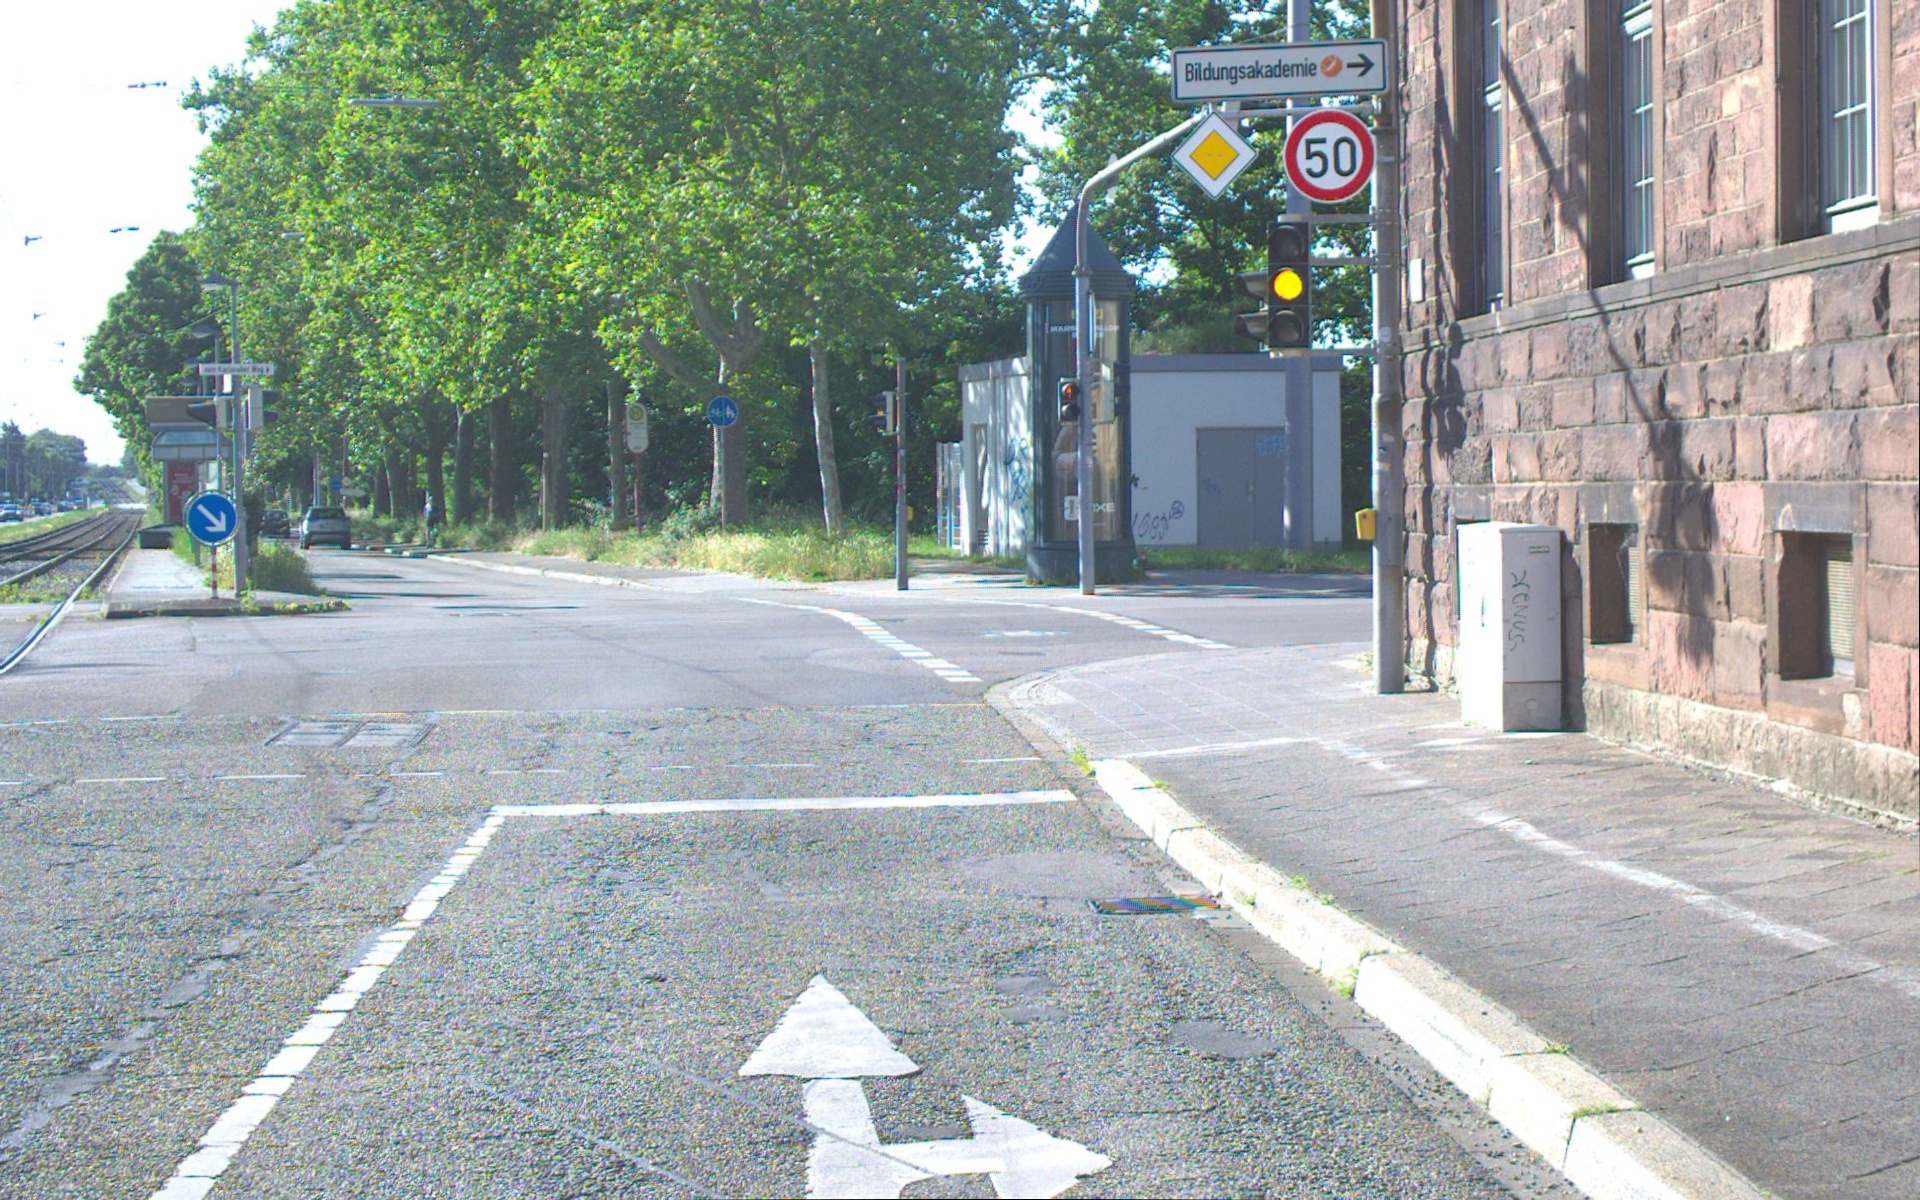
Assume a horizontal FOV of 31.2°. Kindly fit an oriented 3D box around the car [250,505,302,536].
[{"bbox_3d":[-37.423,-4.355,188.035,1.942,1.605,4.001,-2,2,-24],"label":"car"}]

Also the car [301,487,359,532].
[{"bbox_3d":[-23.257,-3.372,127.022,1.942,1.605,4.001,-1,2,-9],"label":"car"}]
